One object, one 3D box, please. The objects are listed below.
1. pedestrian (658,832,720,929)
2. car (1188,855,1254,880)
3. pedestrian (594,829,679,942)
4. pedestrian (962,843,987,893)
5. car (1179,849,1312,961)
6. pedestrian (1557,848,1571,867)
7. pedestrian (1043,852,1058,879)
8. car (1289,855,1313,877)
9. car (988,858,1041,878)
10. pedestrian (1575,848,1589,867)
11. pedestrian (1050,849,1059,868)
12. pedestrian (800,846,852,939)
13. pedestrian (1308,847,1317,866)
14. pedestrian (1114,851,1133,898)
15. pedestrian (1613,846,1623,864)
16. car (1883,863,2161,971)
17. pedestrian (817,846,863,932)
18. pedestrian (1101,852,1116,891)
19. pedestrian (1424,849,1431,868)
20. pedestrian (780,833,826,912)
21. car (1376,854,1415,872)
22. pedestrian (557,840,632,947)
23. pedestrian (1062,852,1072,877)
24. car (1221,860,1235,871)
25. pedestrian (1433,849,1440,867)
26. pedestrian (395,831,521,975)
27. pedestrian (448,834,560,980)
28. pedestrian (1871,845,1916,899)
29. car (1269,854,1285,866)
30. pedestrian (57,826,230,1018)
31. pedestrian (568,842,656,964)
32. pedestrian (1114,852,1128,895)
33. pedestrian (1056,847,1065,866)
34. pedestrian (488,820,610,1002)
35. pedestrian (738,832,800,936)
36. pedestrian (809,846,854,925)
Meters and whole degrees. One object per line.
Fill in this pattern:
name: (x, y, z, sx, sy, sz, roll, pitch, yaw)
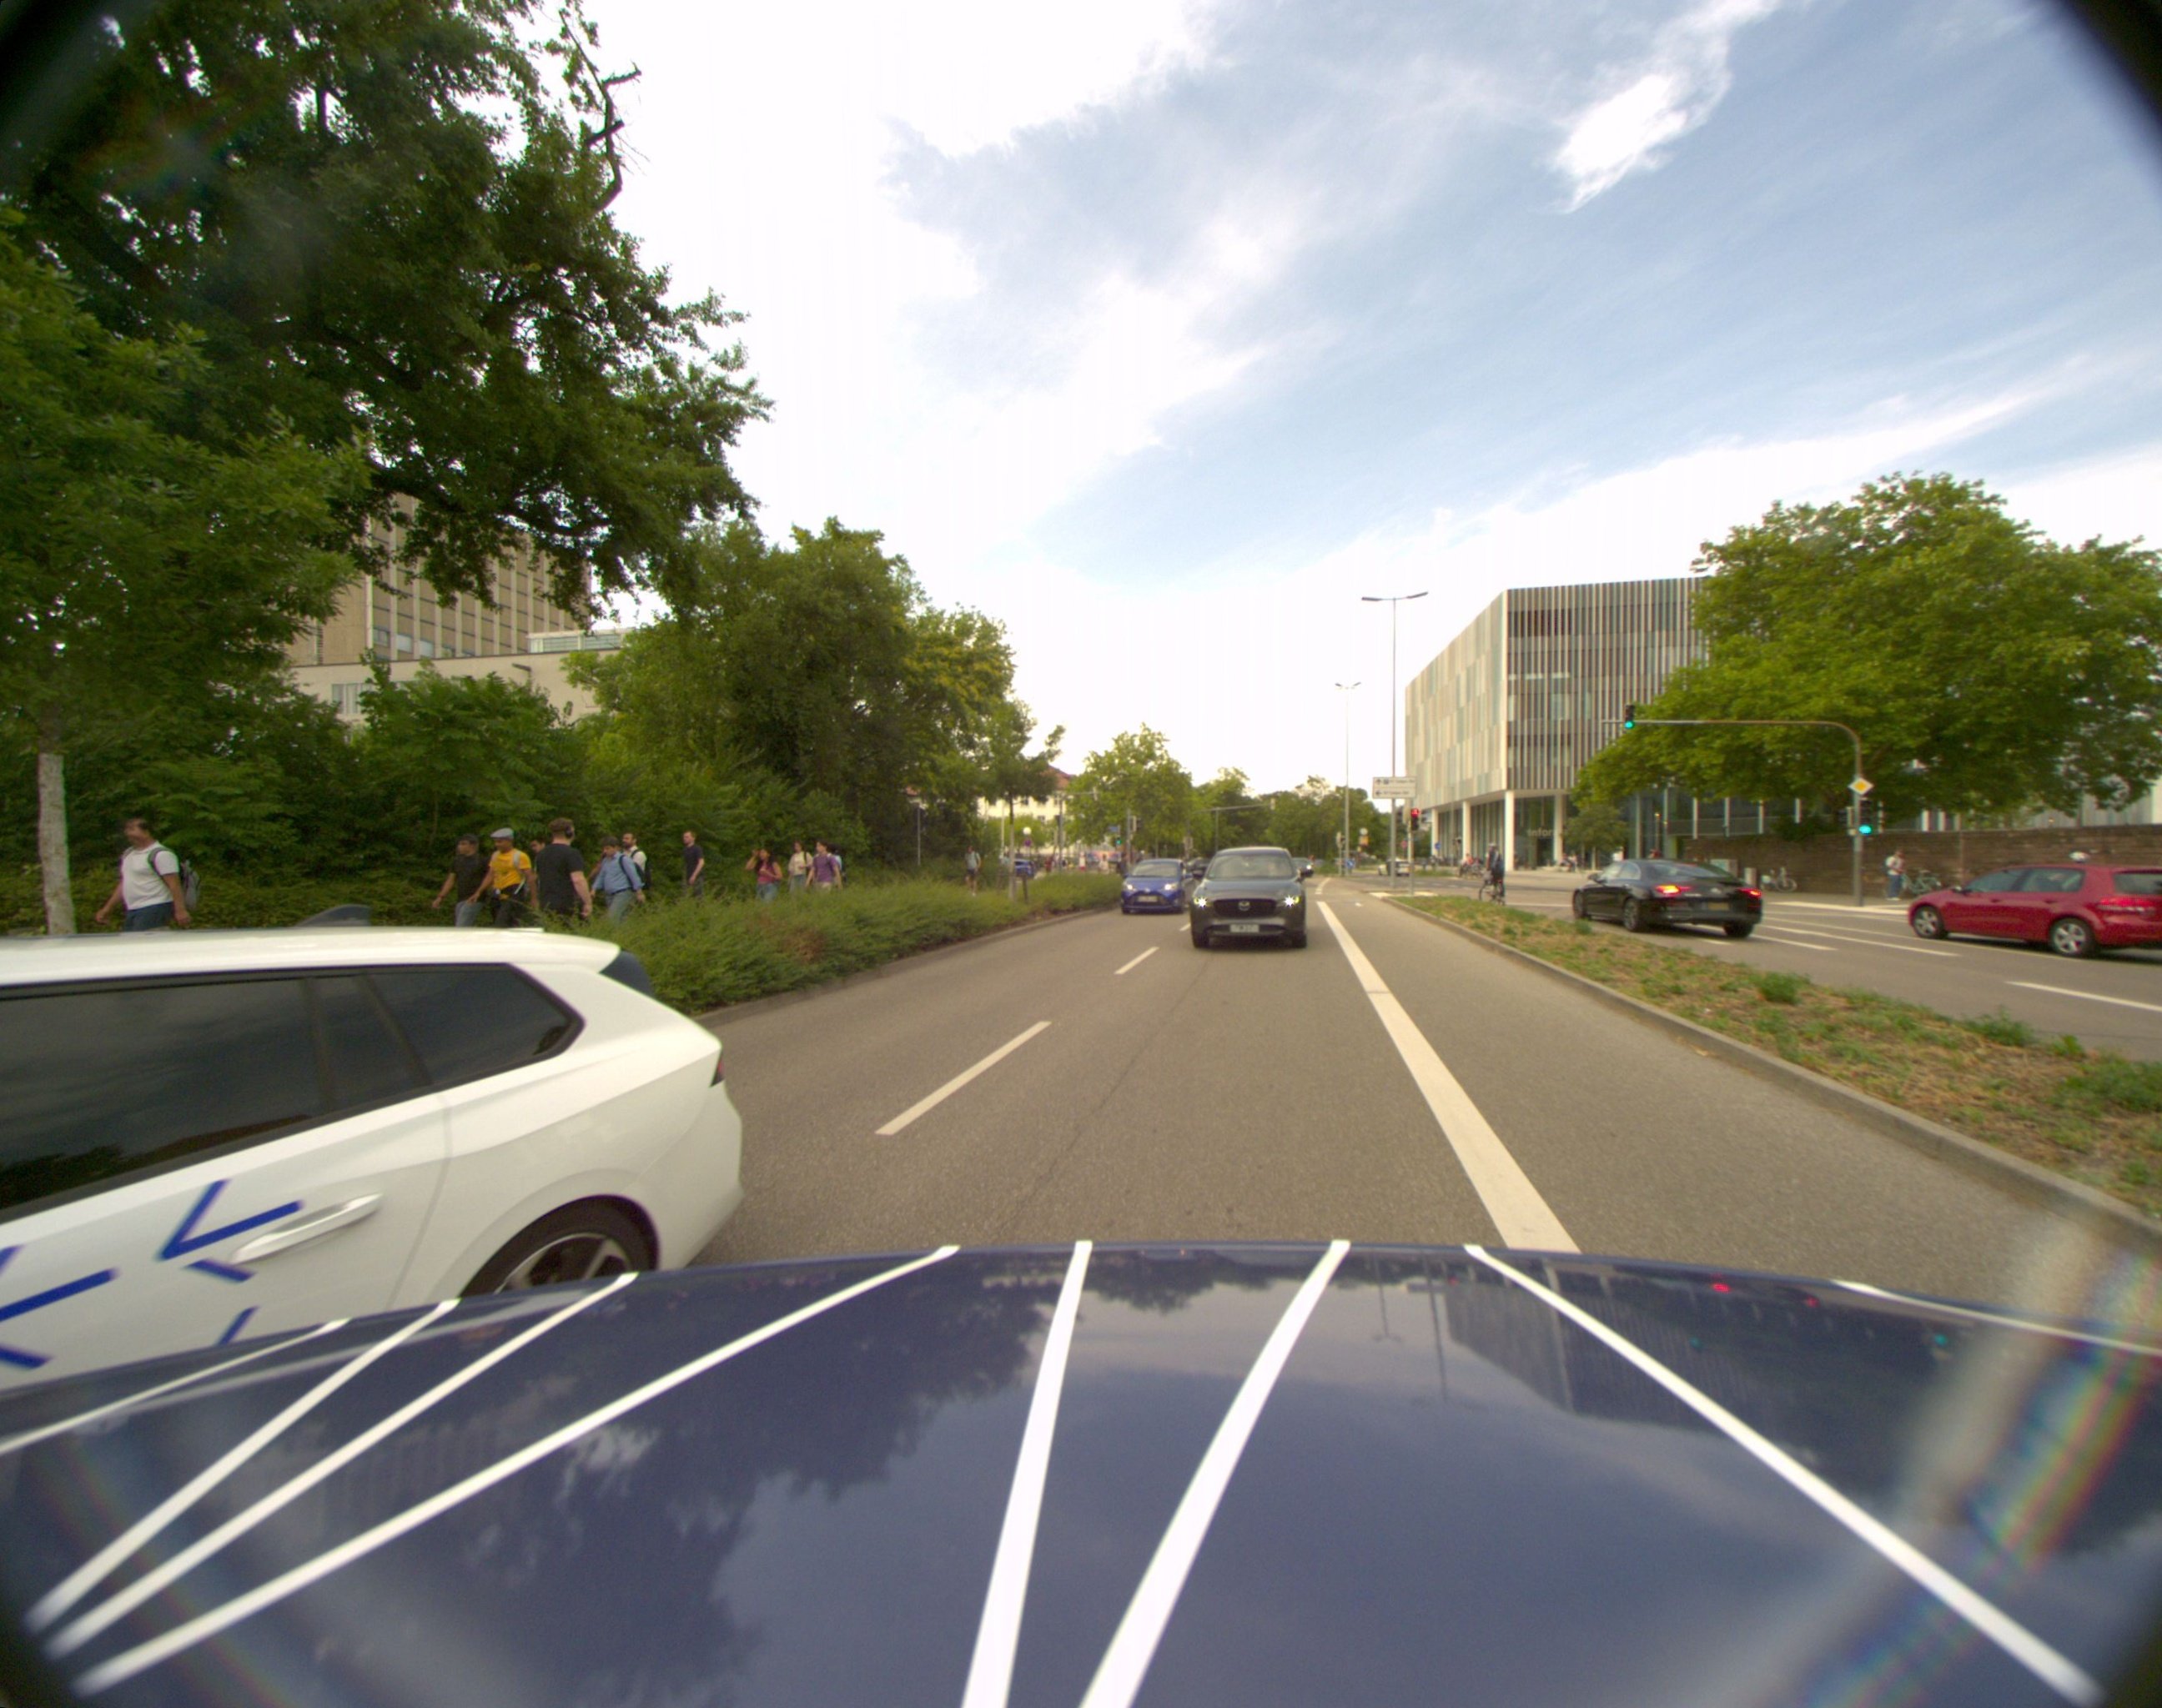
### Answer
pedestrian: (-7.204, 0.465, 13.981, 0.657, 1.735, 0.781, 0, 1, 13)
car: (9.454, 0.889, 51.477, 4.172, 1.547, 1.806, -2, 0, 2)
pedestrian: (-7.168, 0.494, 12.292, 0.657, 1.756, 0.958, -2, 0, 13)
pedestrian: (-3.804, 0.494, 27.142, 0.645, 1.785, 0.741, 0, 1, 13)
car: (2.968, 0.777, 13.640, 1.902, 1.639, 4.650, -2, 0, 13)
pedestrian: (42.516, 0.304, 66.884, 0.731, 1.730, 0.677, -1, 1, -22)
pedestrian: (-2.098, 0.783, 52.375, 0.768, 1.794, 0.892, -1, 0, 17)
car: (16.575, 0.849, 57.128, 1.658, 1.455, 4.004, -2, 1, 17)
car: (-4.924, 1.030, 56.443, 3.577, 1.483, 1.676, 0, 1, 12)
pedestrian: (43.248, 0.323, 65.557, 0.731, 1.591, 0.677, -1, 1, -19)
pedestrian: (-2.774, 0.459, 80.101, 0.687, 1.951, 0.601, -2, 1, -27)
pedestrian: (-4.917, 0.714, 14.665, 0.625, 1.735, 0.781, 0, 1, 13)
pedestrian: (22.850, 0.220, 74.986, 0.726, 1.843, 1.065, 0, 1, 10)
pedestrian: (1.570, 0.761, 28.205, 0.602, 1.725, 0.655, 0, 1, 13)
pedestrian: (52.570, 0.127, 74.395, 0.597, 1.768, 0.635, -1, 1, -33)
car: (16.368, 0.929, 12.859, 1.804, 1.480, 4.293, 0, 0, 14)
pedestrian: (-4.982, 0.709, 15.716, 0.582, 1.735, 0.790, 0, 1, 13)
pedestrian: (1.182, 0.753, 32.638, 0.546, 1.677, 0.637, 0, 1, 13)
pedestrian: (34.075, 0.443, 74.756, 0.511, 1.826, 0.773, 0, 0, 11)
pedestrian: (-6.278, 0.405, 17.177, 0.657, 1.735, 0.781, 0, 1, 13)
car: (27.030, 0.733, 65.373, 1.805, 1.480, 4.417, 0, 0, 5)
pedestrian: (-7.974, 0.621, 12.472, 0.657, 1.689, 0.781, 0, 1, 13)
pedestrian: (-1.009, 0.768, 56.000, 0.646, 1.841, 0.829, -1, 1, 1)
car: (19.964, 1.562, 103.311, 1.702, 1.361, 3.835, 0, 0, 10)
pedestrian: (34.876, 0.391, 74.533, 0.511, 1.826, 0.625, 0, 0, 11)
pedestrian: (-7.573, 0.559, 9.277, 0.657, 1.657, 0.972, 0, 1, 13)
pedestrian: (-6.950, 0.606, 9.185, 0.657, 1.679, 0.842, 0, 1, 13)
pedestrian: (27.491, 0.589, 25.712, 0.747, 1.772, 0.782, -1, 2, -20)
car: (25.572, 0.792, 99.225, 1.659, 1.455, 4.003, -2, 0, 10)
pedestrian: (-9.056, 0.616, 7.367, 0.722, 1.734, 0.813, 0, 1, 15)
pedestrian: (-6.542, 0.658, 10.628, 0.657, 1.638, 0.813, 0, 1, 13)
pedestrian: (1.640, 0.781, 31.100, 0.454, 1.725, 0.637, 0, 1, 13)
pedestrian: (-2.170, 0.234, 80.514, 0.687, 1.951, 0.601, -2, 1, -27)
pedestrian: (-5.761, 0.570, 8.229, 0.934, 1.820, 0.889, 1, 1, 42)
pedestrian: (-5.395, 0.504, 13.163, 0.657, 1.735, 0.781, 0, 1, 13)
pedestrian: (-5.596, 0.682, 17.071, 0.657, 1.735, 0.781, 0, 1, 13)
